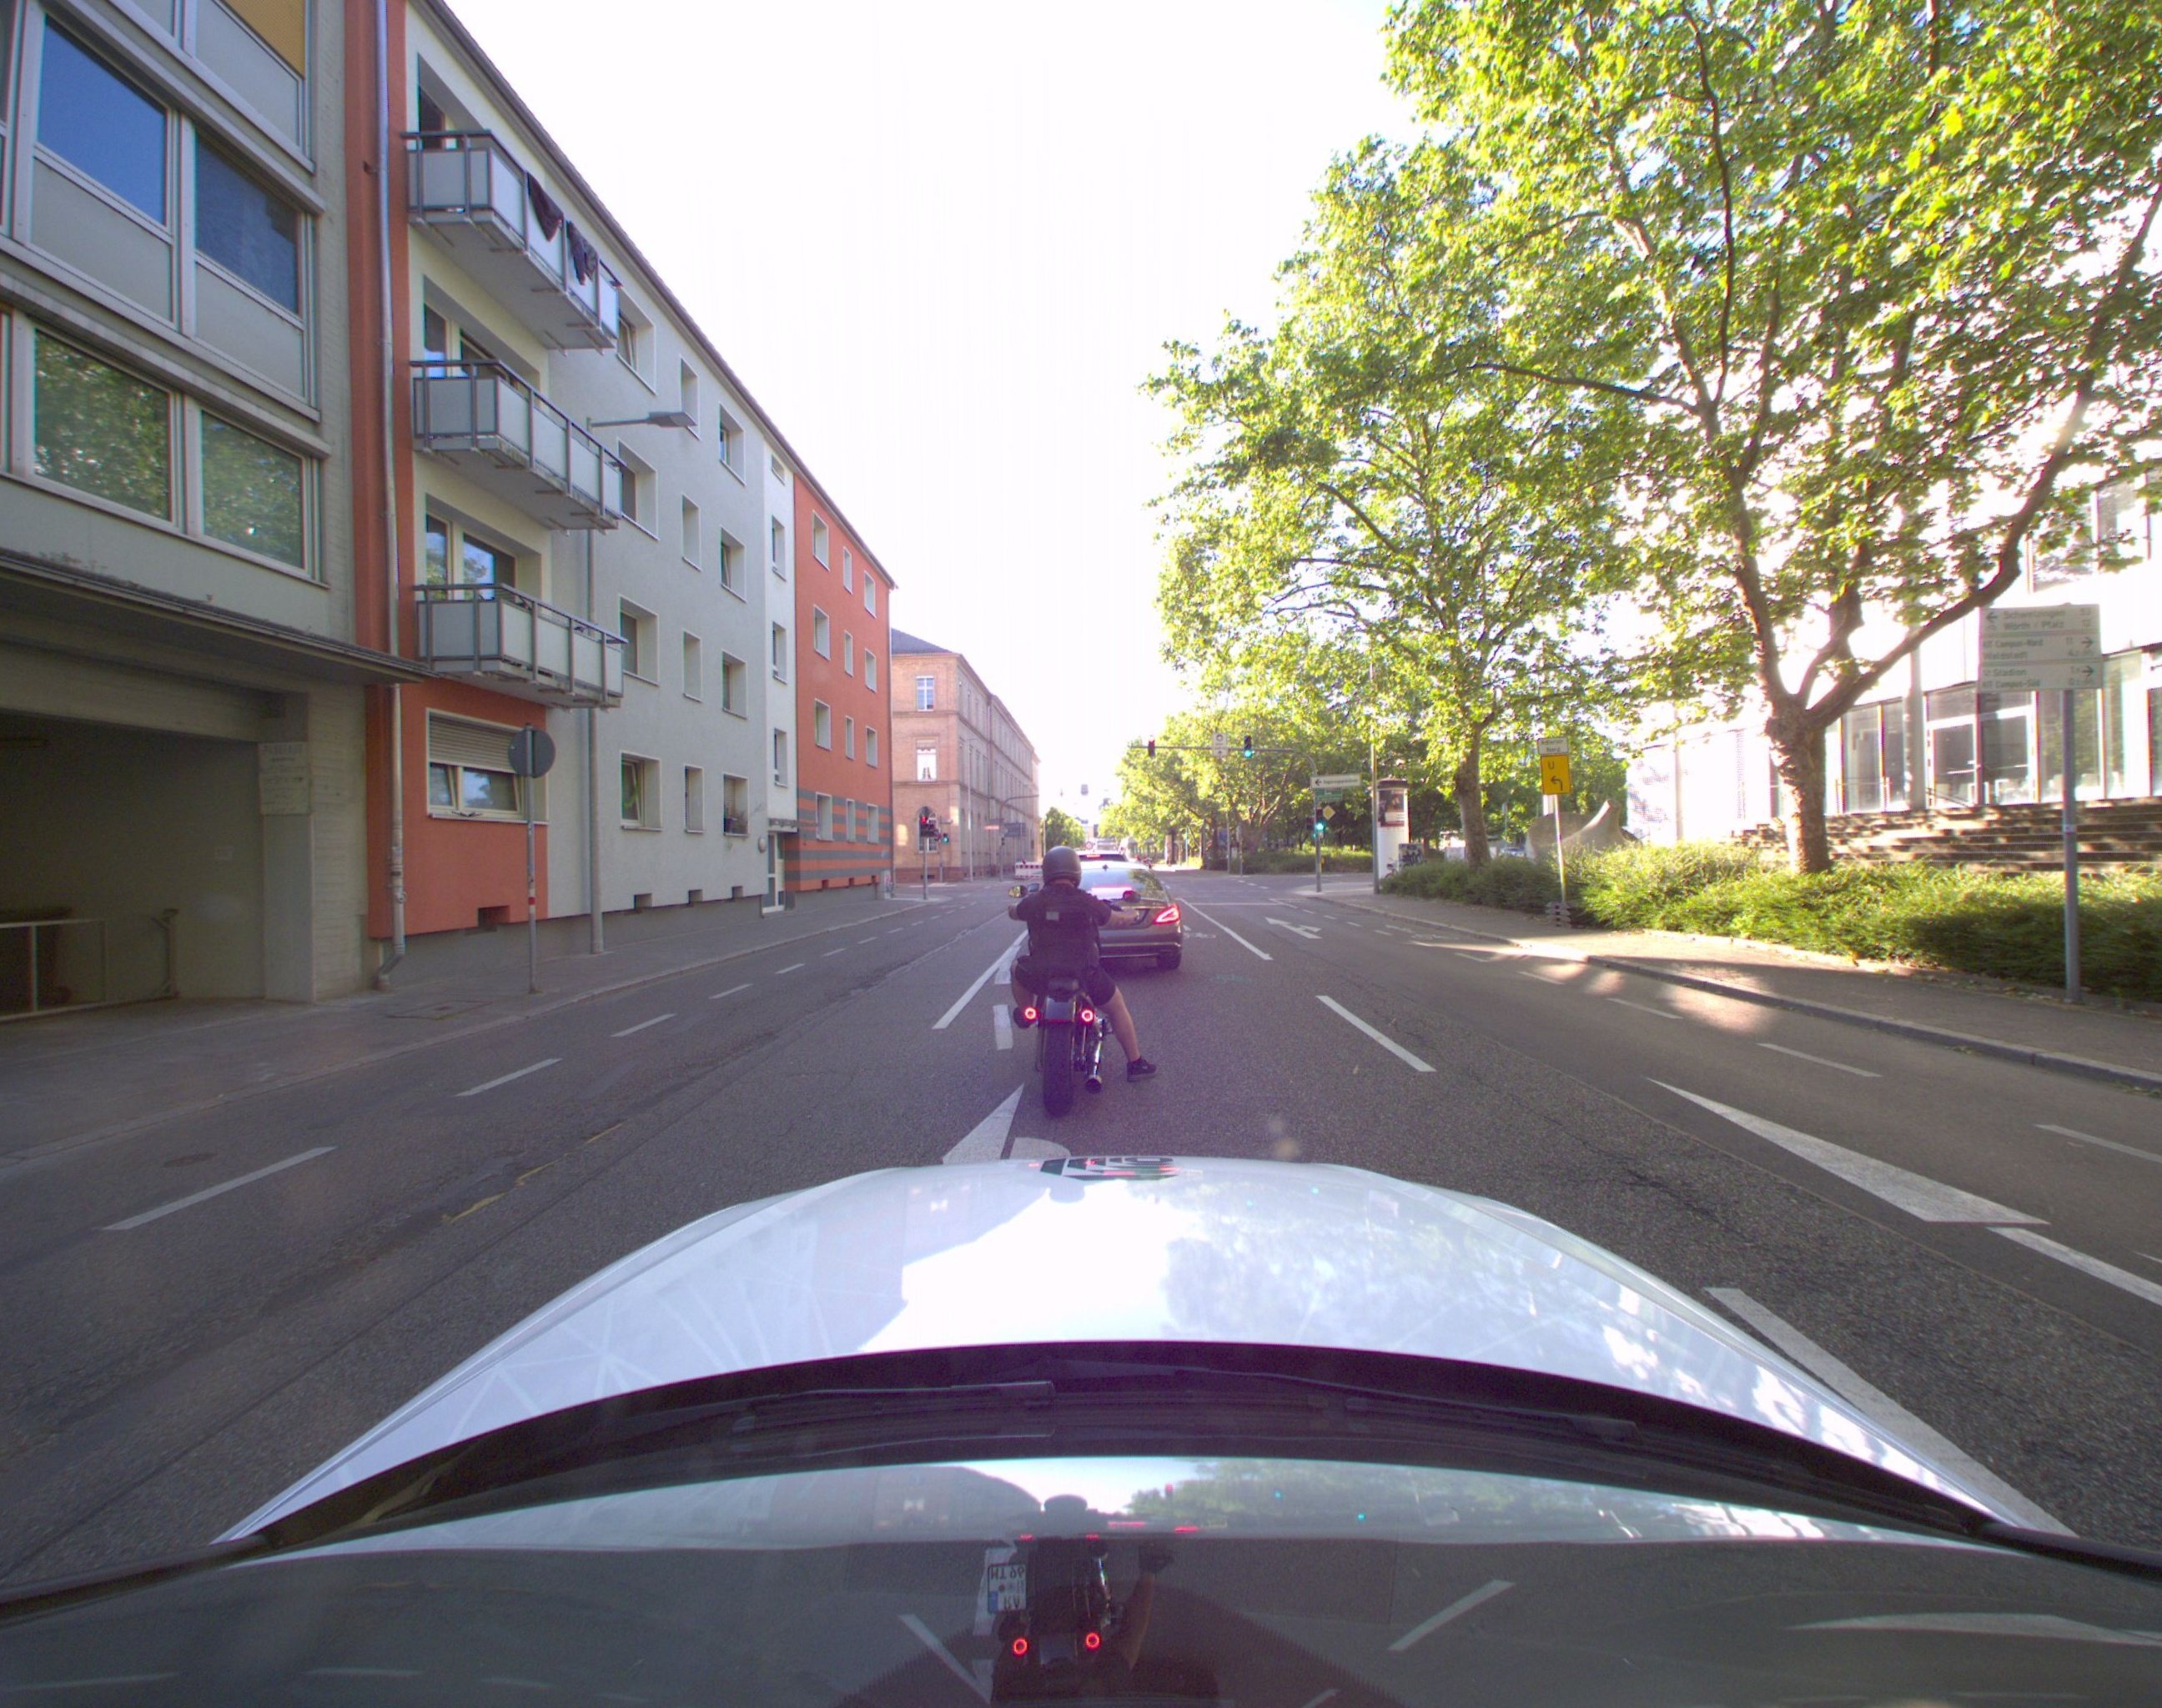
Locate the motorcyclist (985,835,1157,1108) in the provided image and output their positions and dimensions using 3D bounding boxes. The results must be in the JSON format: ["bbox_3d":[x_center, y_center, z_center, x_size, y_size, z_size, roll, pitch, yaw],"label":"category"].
[{"bbox_3d":[-0.040,0.697,5.522,0.986,1.597,1.404,-1,0,2],"label":"motorcyclist"}]

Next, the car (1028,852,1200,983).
[{"bbox_3d":[0.254,0.740,11.713,1.943,1.473,4.355,-1,0,-5],"label":"car"}]

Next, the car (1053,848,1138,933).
[{"bbox_3d":[0.318,0.704,17.883,1.606,1.607,4.329,-1,0,1],"label":"car"}]

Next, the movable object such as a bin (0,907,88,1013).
[{"bbox_3d":[-11.319,1.111,8.677,0.593,1.041,0.703,0,-1,1],"label":"movable object such as a bin"}]

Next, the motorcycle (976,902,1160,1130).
[{"bbox_3d":[-0.031,0.956,5.675,0.986,1.078,2.453,-1,0,2],"label":"motorcycle"}]

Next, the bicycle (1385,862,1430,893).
[{"bbox_3d":[11.013,0.792,27.514,1.346,1.023,0.363,-1,0,2],"label":"bicycle"}]

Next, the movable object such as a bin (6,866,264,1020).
[{"bbox_3d":[-9.629,0.865,8.361,1.322,1.430,1.134,-1,0,3],"label":"movable object such as a bin"}]
